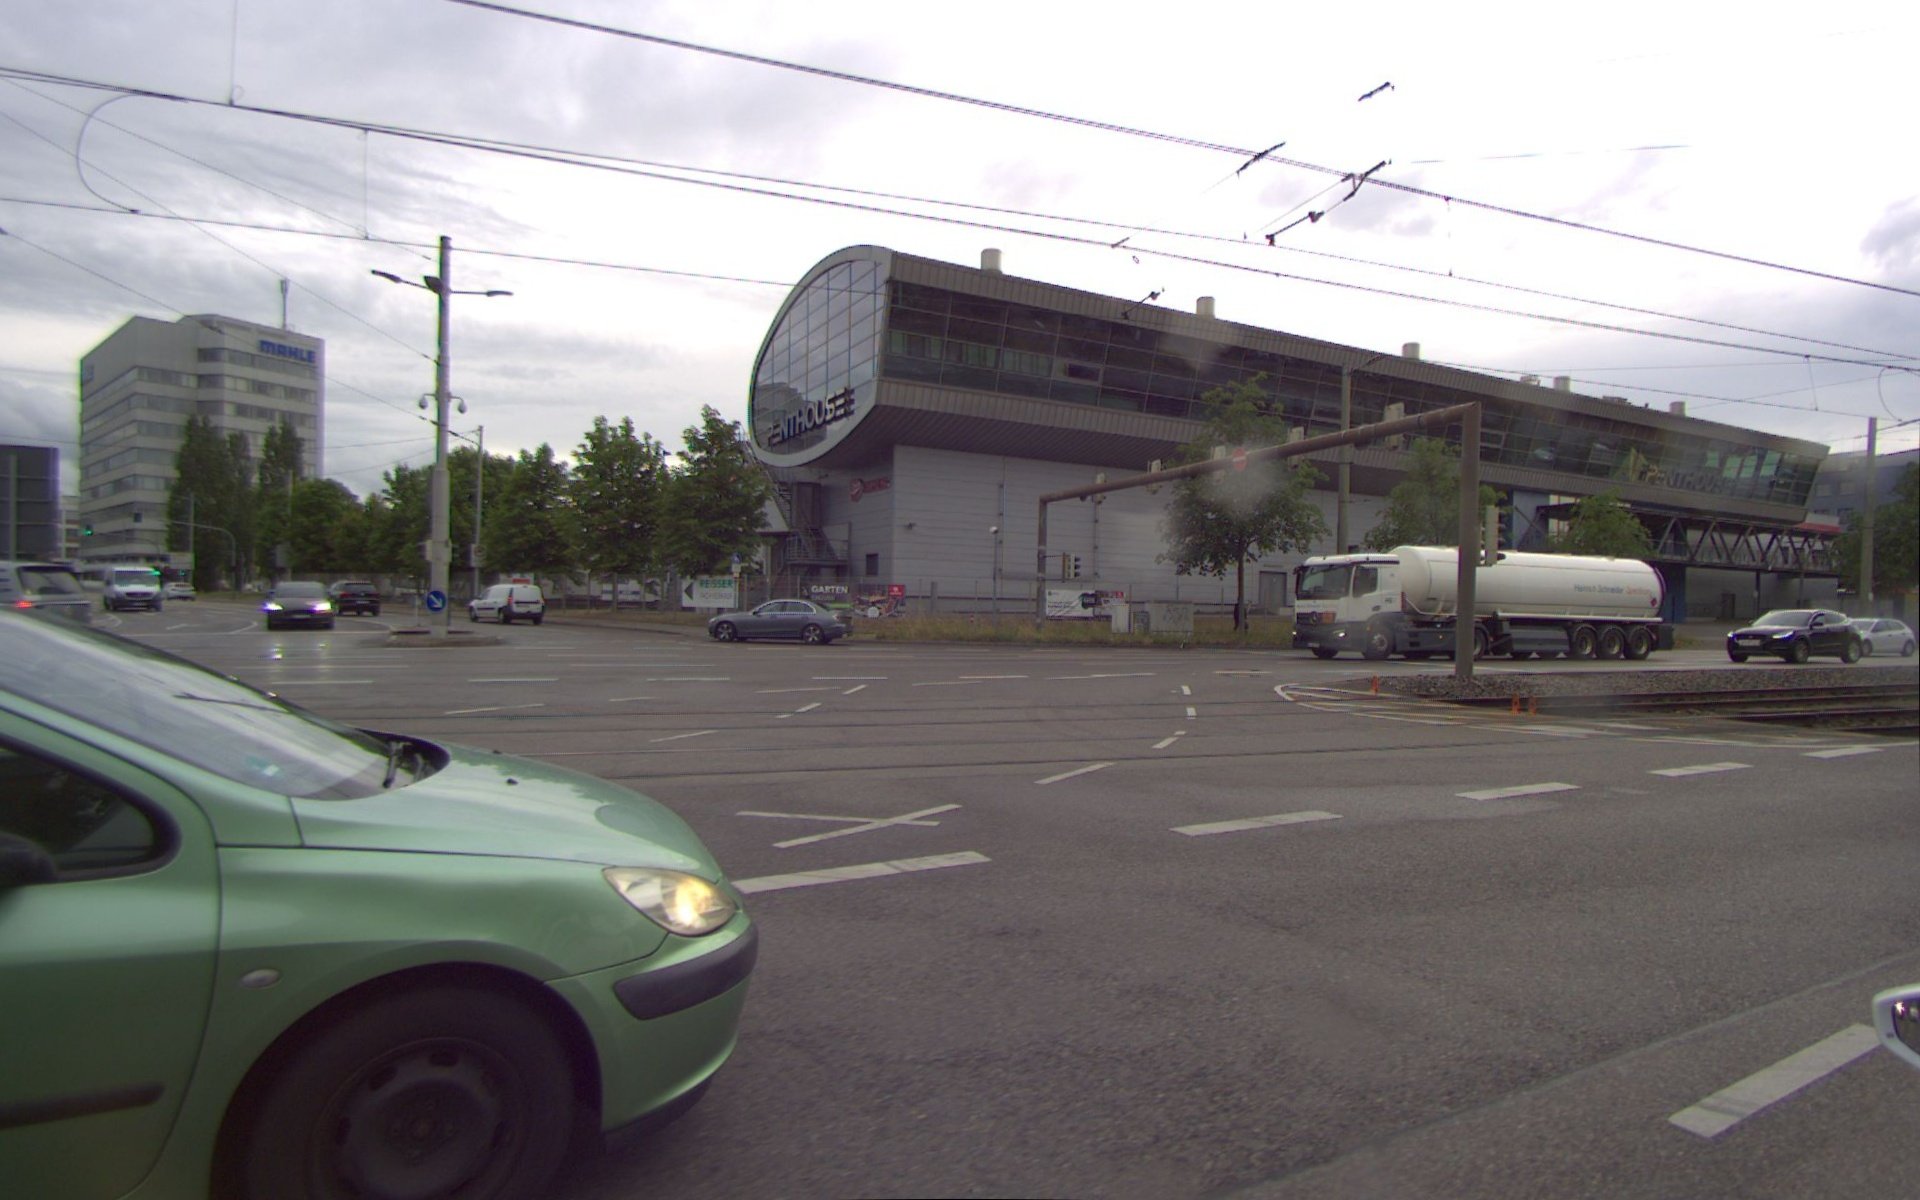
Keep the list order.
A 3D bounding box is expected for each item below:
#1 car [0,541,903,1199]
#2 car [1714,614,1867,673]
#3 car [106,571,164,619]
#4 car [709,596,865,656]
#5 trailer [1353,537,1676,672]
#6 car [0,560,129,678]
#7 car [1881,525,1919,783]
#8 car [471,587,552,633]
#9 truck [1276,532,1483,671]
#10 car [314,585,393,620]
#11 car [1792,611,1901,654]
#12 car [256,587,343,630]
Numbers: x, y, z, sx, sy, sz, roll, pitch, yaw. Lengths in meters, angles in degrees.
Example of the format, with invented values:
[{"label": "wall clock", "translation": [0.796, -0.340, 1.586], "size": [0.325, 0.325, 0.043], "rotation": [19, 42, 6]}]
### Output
[{"label": "car", "translation": [-2.455, 0.613, 2.200], "size": [4.350, 1.488, 1.687], "rotation": [1, 3, -29]}, {"label": "car", "translation": [25.981, 1.352, 31.432], "size": [4.135, 1.675, 1.919], "rotation": [1, 1, -22]}, {"label": "car", "translation": [-43.490, -0.304, 53.067], "size": [2.270, 2.315, 4.691], "rotation": [0, 3, -39]}, {"label": "car", "translation": [-5.477, 0.799, 32.132], "size": [4.551, 1.630, 2.000], "rotation": [2, 2, 4]}, {"label": "trailer", "translation": [17.985, 0.274, 32.337], "size": [11.064, 3.905, 2.720], "rotation": [1, -1, -22]}, {"label": "car", "translation": [-16.991, 0.284, 16.393], "size": [4.826, 1.862, 1.994], "rotation": [1, 0, -15]}, {"label": "car", "translation": [11.229, 0.529, 9.299], "size": [4.841, 2.324, 2.436], "rotation": [1, 0, -27]}, {"label": "car", "translation": [-19.033, 0.378, 42.540], "size": [3.945, 1.708, 1.845], "rotation": [4, 3, 45]}, {"label": "truck", "translation": [12.559, 0.131, 30.144], "size": [5.332, 3.855, 2.741], "rotation": [1, -1, -22]}, {"label": "car", "translation": [-29.613, 0.099, 48.993], "size": [4.387, 1.630, 1.991], "rotation": [1, 0, 40]}, {"label": "car", "translation": [33.658, 1.236, 38.140], "size": [3.933, 1.530, 1.560], "rotation": [1, 0, -23]}, {"label": "car", "translation": [-23.084, 0.279, 35.058], "size": [1.985, 1.420, 3.950], "rotation": [1, 0, -42]}]
